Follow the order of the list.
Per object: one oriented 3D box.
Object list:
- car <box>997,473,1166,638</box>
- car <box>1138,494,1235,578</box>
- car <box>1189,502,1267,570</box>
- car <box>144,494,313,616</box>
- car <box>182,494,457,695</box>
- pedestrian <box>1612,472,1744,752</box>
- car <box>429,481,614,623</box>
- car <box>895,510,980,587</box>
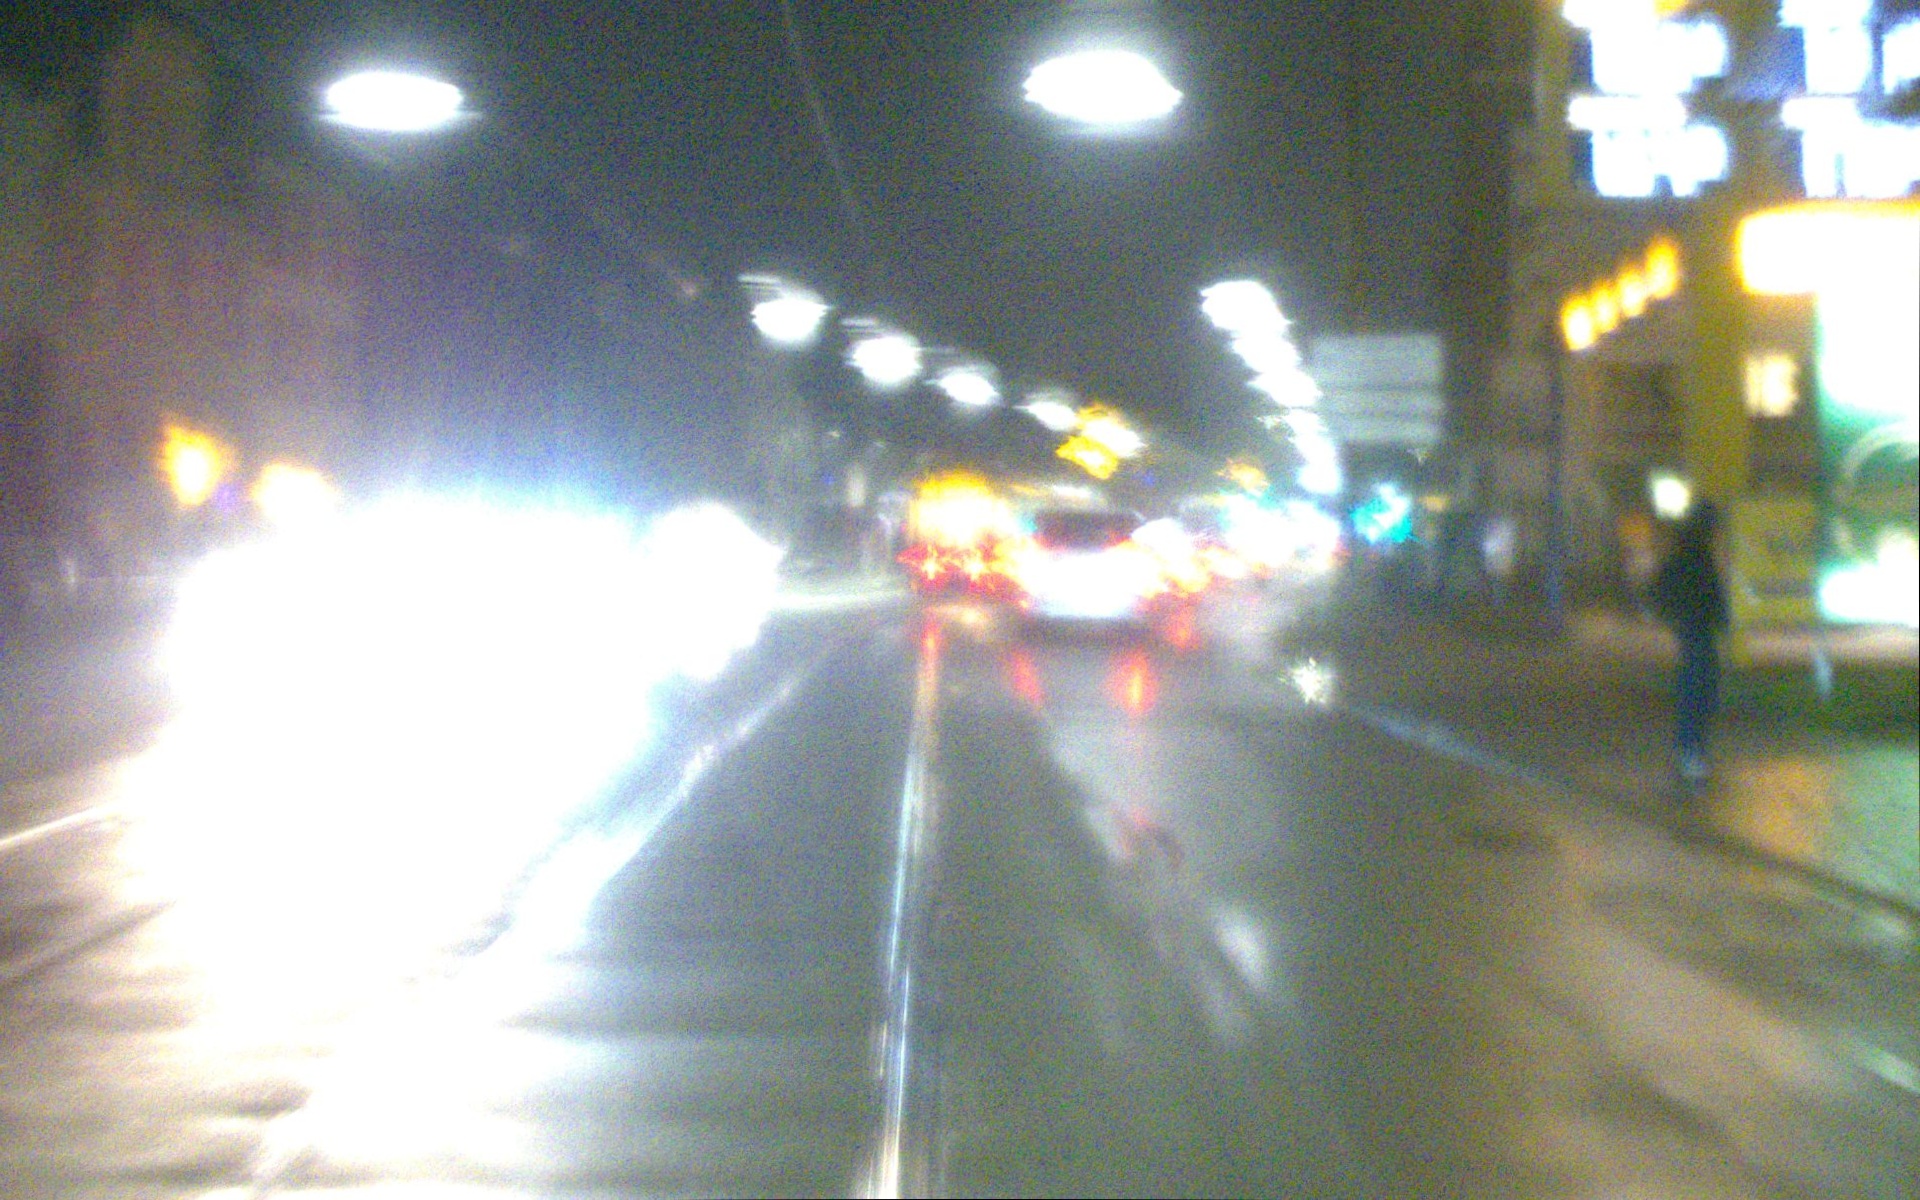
[{"bbox_3d":[1.765,-0.686,51.455,2.244,2.353,4.394,0,1,-2],"label":"car"},{"bbox_3d":[5.034,-1.432,76.808,2.016,1.809,4.000,0,1,2],"label":"car"},{"bbox_3d":[8.115,-1.954,104.313,1.993,2.007,4.000,0,1,-1],"label":"car"},{"bbox_3d":[-12.446,-0.787,58.745,1.993,2.007,4.000,0,1,1],"label":"car"},{"bbox_3d":[-5.789,-0.091,31.524,1.993,1.718,4.077,0,1,-4],"label":"car"},{"bbox_3d":[4.640,0.067,22.202,0.778,1.770,0.693,0,1,17],"label":"pedestrian"},{"bbox_3d":[-6.243,-0.714,49.476,2.319,1.925,4.964,0,1,-4],"label":"car"},{"bbox_3d":[-0.570,-1.258,82.984,1.993,1.809,4.000,0,1,-1],"label":"car"}]
